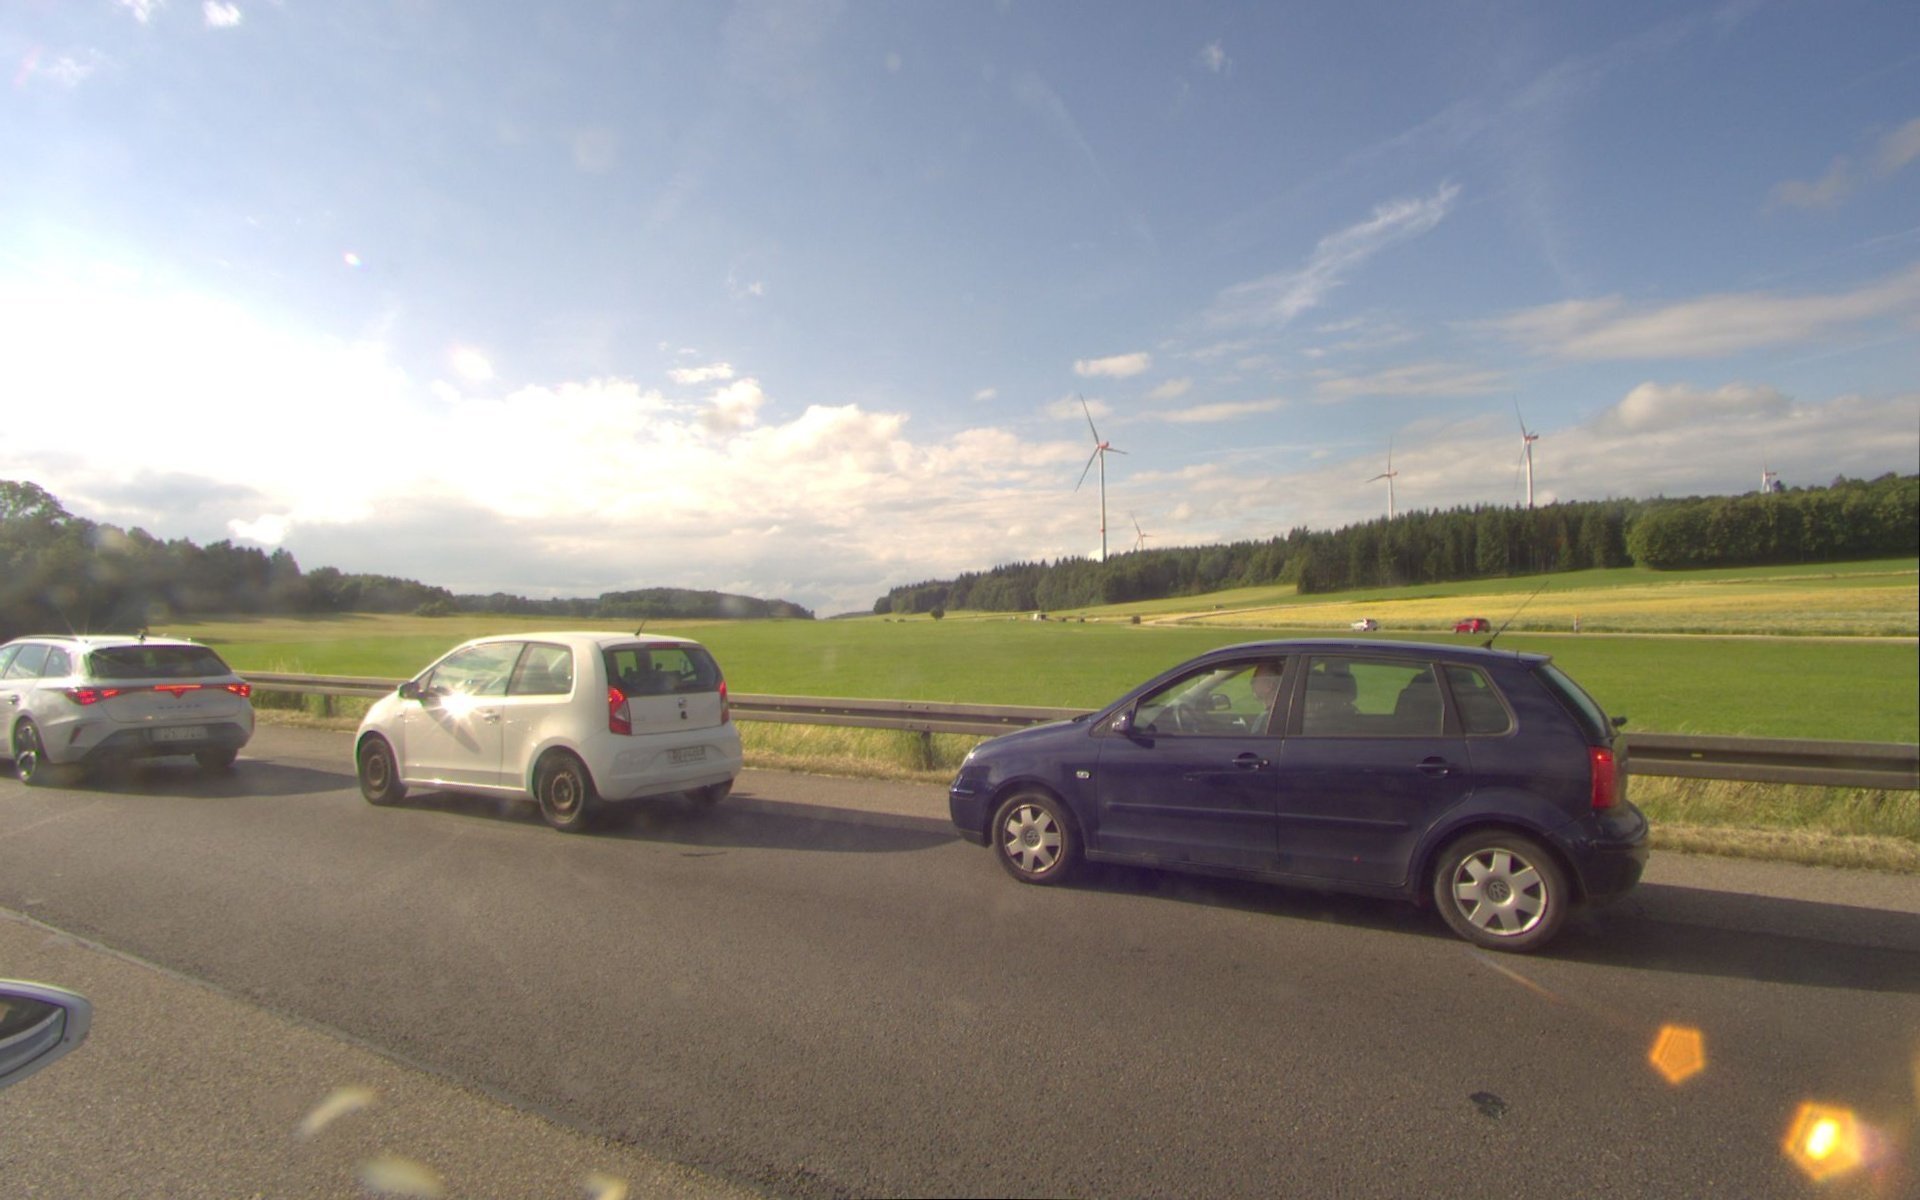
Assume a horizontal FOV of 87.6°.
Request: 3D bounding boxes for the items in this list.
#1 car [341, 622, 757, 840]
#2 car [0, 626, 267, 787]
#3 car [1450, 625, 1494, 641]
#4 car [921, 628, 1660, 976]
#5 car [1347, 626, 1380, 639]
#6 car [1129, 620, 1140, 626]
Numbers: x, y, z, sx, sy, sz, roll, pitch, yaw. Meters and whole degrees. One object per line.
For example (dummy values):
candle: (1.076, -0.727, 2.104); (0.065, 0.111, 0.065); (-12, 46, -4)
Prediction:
car: (-3.530, 0.958, 8.531); (3.326, 1.514, 1.547); (0, -1, 29)
car: (-9.494, 1.041, 10.875); (4.084, 1.464, 1.619); (-1, -2, 29)
car: (49.672, 3.202, 97.192); (1.803, 1.505, 4.221); (0, -2, -6)
car: (1.783, 0.914, 5.929); (3.719, 1.464, 1.708); (-1, -2, 31)
car: (47.415, 3.782, 117.857); (1.803, 1.505, 4.288); (0, -2, -6)
car: (43.925, 5.720, 252.279); (1.803, 1.505, 4.221); (0, -2, -6)
